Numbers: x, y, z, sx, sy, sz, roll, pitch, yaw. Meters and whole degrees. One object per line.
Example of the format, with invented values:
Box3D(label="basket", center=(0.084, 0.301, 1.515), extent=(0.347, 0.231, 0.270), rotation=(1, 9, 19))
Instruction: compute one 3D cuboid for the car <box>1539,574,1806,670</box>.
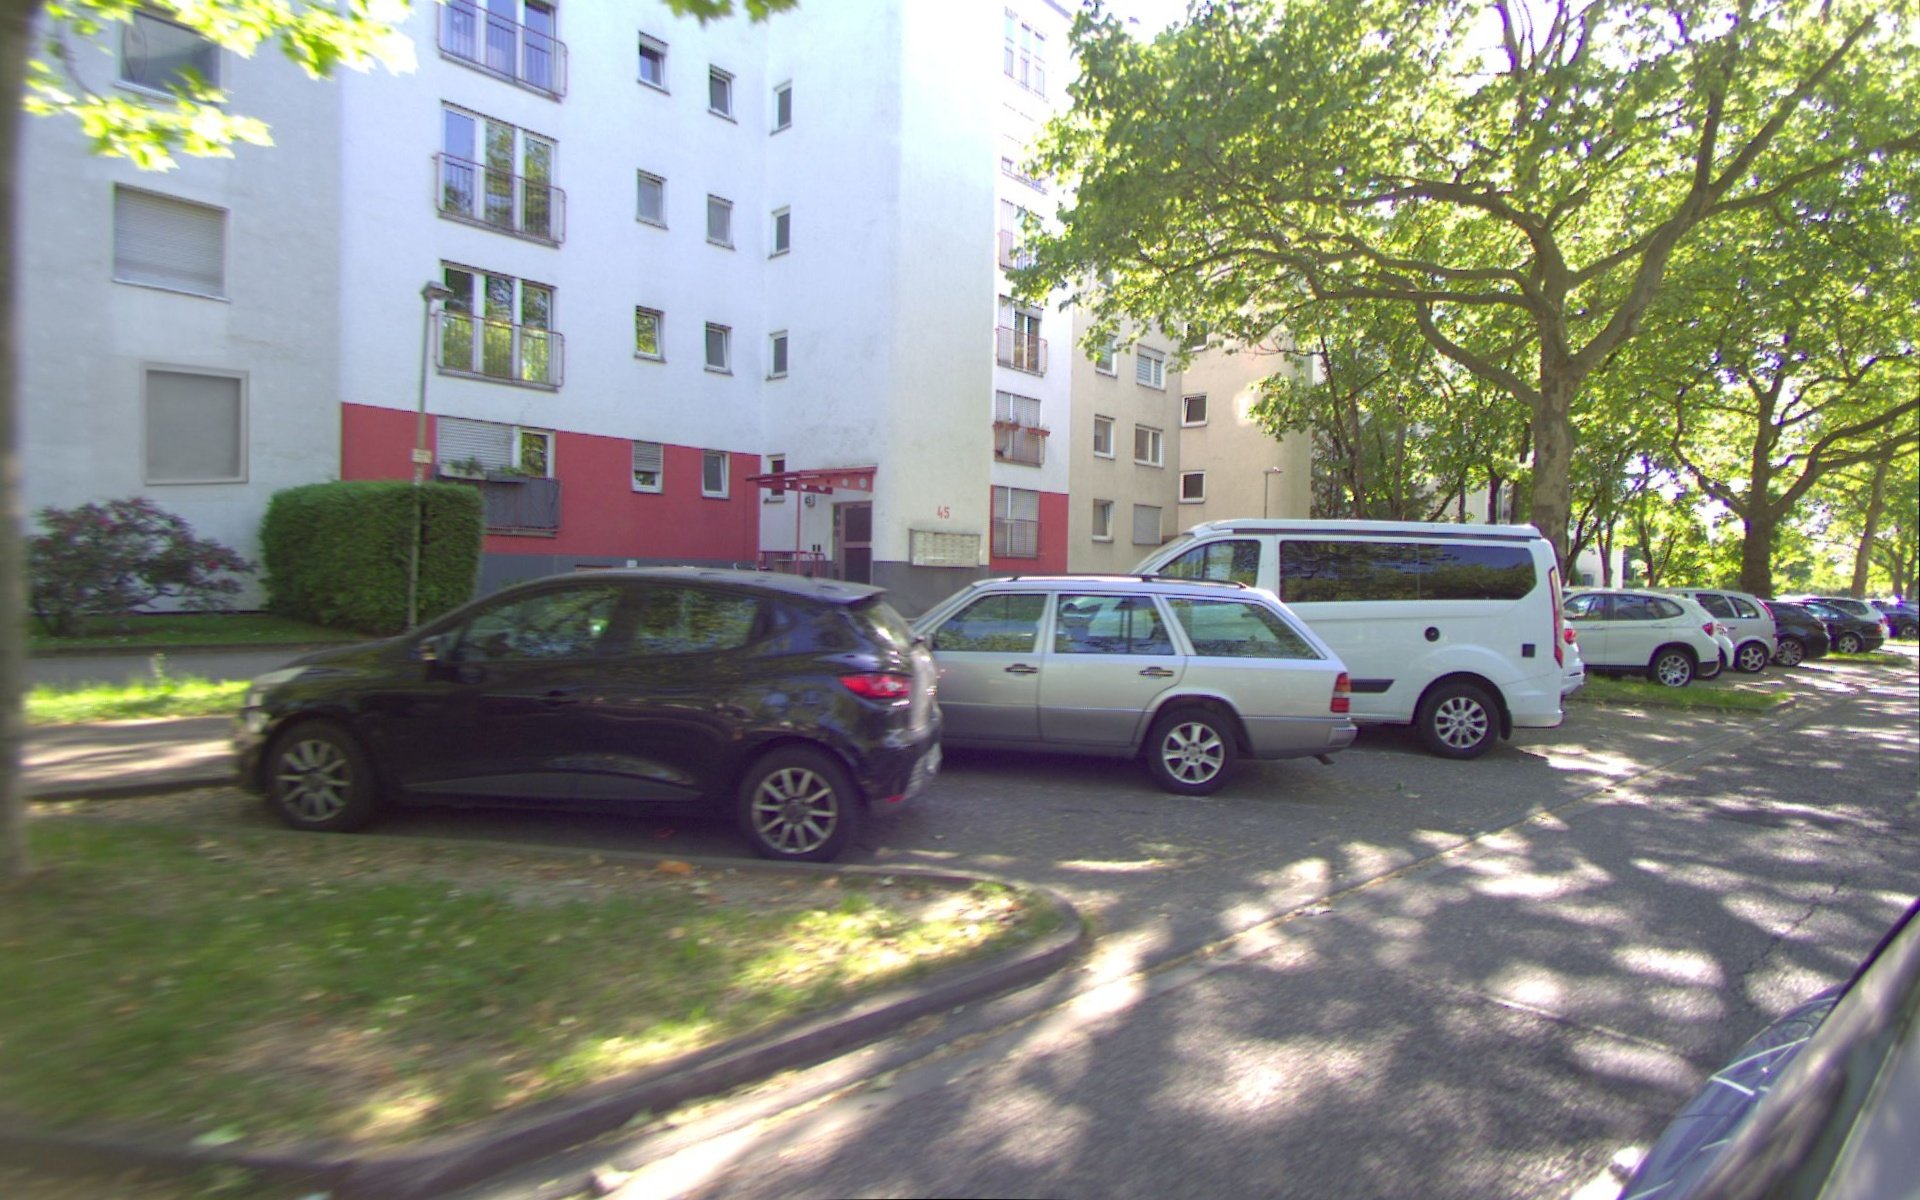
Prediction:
Box3D(label="car", center=(14.298, 0.400, 20.520), extent=(3.931, 1.609, 1.798), rotation=(3, 2, 6))

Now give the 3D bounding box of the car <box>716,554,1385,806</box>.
Box3D(label="car", center=(0.621, 0.476, 7.830), extent=(4.513, 1.441, 1.797), rotation=(3, 3, 8))

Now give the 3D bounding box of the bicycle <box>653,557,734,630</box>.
Box3D(label="bicycle", center=(-4.740, -0.140, 17.899), extent=(1.796, 1.143, 0.492), rotation=(6, 4, 44))

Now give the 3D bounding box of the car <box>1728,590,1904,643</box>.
Box3D(label="car", center=(27.678, 0.496, 32.849), extent=(3.933, 1.462, 1.797), rotation=(3, 2, 8))

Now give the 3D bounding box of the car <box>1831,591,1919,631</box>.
Box3D(label="car", center=(42.254, 0.509, 45.933), extent=(3.664, 1.612, 1.796), rotation=(3, 2, 8))

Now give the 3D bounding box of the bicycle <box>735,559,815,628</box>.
Box3D(label="bicycle", center=(-3.504, -0.135, 19.054), extent=(1.796, 1.143, 0.492), rotation=(6, 4, 44))

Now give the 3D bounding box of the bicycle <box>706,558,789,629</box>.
Box3D(label="bicycle", center=(-3.943, -0.141, 18.675), extent=(1.796, 1.143, 0.541), rotation=(6, 4, 44))

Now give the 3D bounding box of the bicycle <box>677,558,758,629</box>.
Box3D(label="bicycle", center=(-4.405, -0.140, 18.317), extent=(1.796, 1.143, 0.492), rotation=(6, 4, 44))

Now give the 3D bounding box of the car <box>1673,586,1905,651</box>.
Box3D(label="car", center=(22.040, 0.467, 27.057), extent=(4.507, 1.440, 1.799), rotation=(3, 2, 4))

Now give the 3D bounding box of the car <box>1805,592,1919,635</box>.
Box3D(label="car", center=(35.492, 0.538, 39.185), extent=(3.819, 1.463, 1.798), rotation=(3, 2, 5))

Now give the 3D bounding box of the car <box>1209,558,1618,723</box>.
Box3D(label="car", center=(5.181, 0.394, 12.086), extent=(3.987, 1.599, 1.831), rotation=(3, 2, 6))

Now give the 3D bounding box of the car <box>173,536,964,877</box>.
Box3D(label="car", center=(-2.005, 0.452, 5.850), extent=(3.855, 1.434, 1.798), rotation=(3, 3, 6))

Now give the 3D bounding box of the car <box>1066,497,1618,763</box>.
Box3D(label="car", center=(3.384, 0.180, 9.873), extent=(4.515, 2.077, 2.013), rotation=(3, 2, 9))

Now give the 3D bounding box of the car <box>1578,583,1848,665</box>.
Box3D(label="car", center=(16.719, 0.485, 22.716), extent=(4.338, 1.445, 1.947), rotation=(3, 3, 10))

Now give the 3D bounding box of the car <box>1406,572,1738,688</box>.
Box3D(label="car", center=(9.729, 0.436, 16.348), extent=(4.134, 1.528, 1.800), rotation=(3, 2, 1))

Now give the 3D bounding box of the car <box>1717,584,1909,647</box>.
Box3D(label="car", center=(25.344, 0.426, 30.201), extent=(3.934, 1.595, 1.796), rotation=(3, 2, 9))

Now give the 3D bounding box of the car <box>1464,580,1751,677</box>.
Box3D(label="car", center=(11.699, 0.467, 18.521), extent=(3.928, 1.436, 1.831), rotation=(3, 3, 4))

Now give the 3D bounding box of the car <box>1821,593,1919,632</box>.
Box3D(label="car", center=(39.812, 0.531, 43.716), extent=(3.523, 1.510, 1.797), rotation=(3, 2, 7))

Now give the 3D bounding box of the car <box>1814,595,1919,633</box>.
Box3D(label="car", center=(38.026, 0.587, 41.552), extent=(4.078, 1.334, 1.796), rotation=(3, 2, 9))

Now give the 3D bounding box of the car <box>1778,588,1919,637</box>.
Box3D(label="car", center=(32.736, 0.449, 36.979), extent=(4.100, 1.529, 1.800), rotation=(2, 2, 2))

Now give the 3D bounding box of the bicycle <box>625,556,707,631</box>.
Box3D(label="bicycle", center=(-5.080, -0.133, 17.408), extent=(1.796, 1.143, 0.492), rotation=(6, 4, 44))

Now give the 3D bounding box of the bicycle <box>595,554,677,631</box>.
Box3D(label="bicycle", center=(-5.480, -0.145, 17.033), extent=(1.796, 1.143, 0.492), rotation=(6, 4, 44))
